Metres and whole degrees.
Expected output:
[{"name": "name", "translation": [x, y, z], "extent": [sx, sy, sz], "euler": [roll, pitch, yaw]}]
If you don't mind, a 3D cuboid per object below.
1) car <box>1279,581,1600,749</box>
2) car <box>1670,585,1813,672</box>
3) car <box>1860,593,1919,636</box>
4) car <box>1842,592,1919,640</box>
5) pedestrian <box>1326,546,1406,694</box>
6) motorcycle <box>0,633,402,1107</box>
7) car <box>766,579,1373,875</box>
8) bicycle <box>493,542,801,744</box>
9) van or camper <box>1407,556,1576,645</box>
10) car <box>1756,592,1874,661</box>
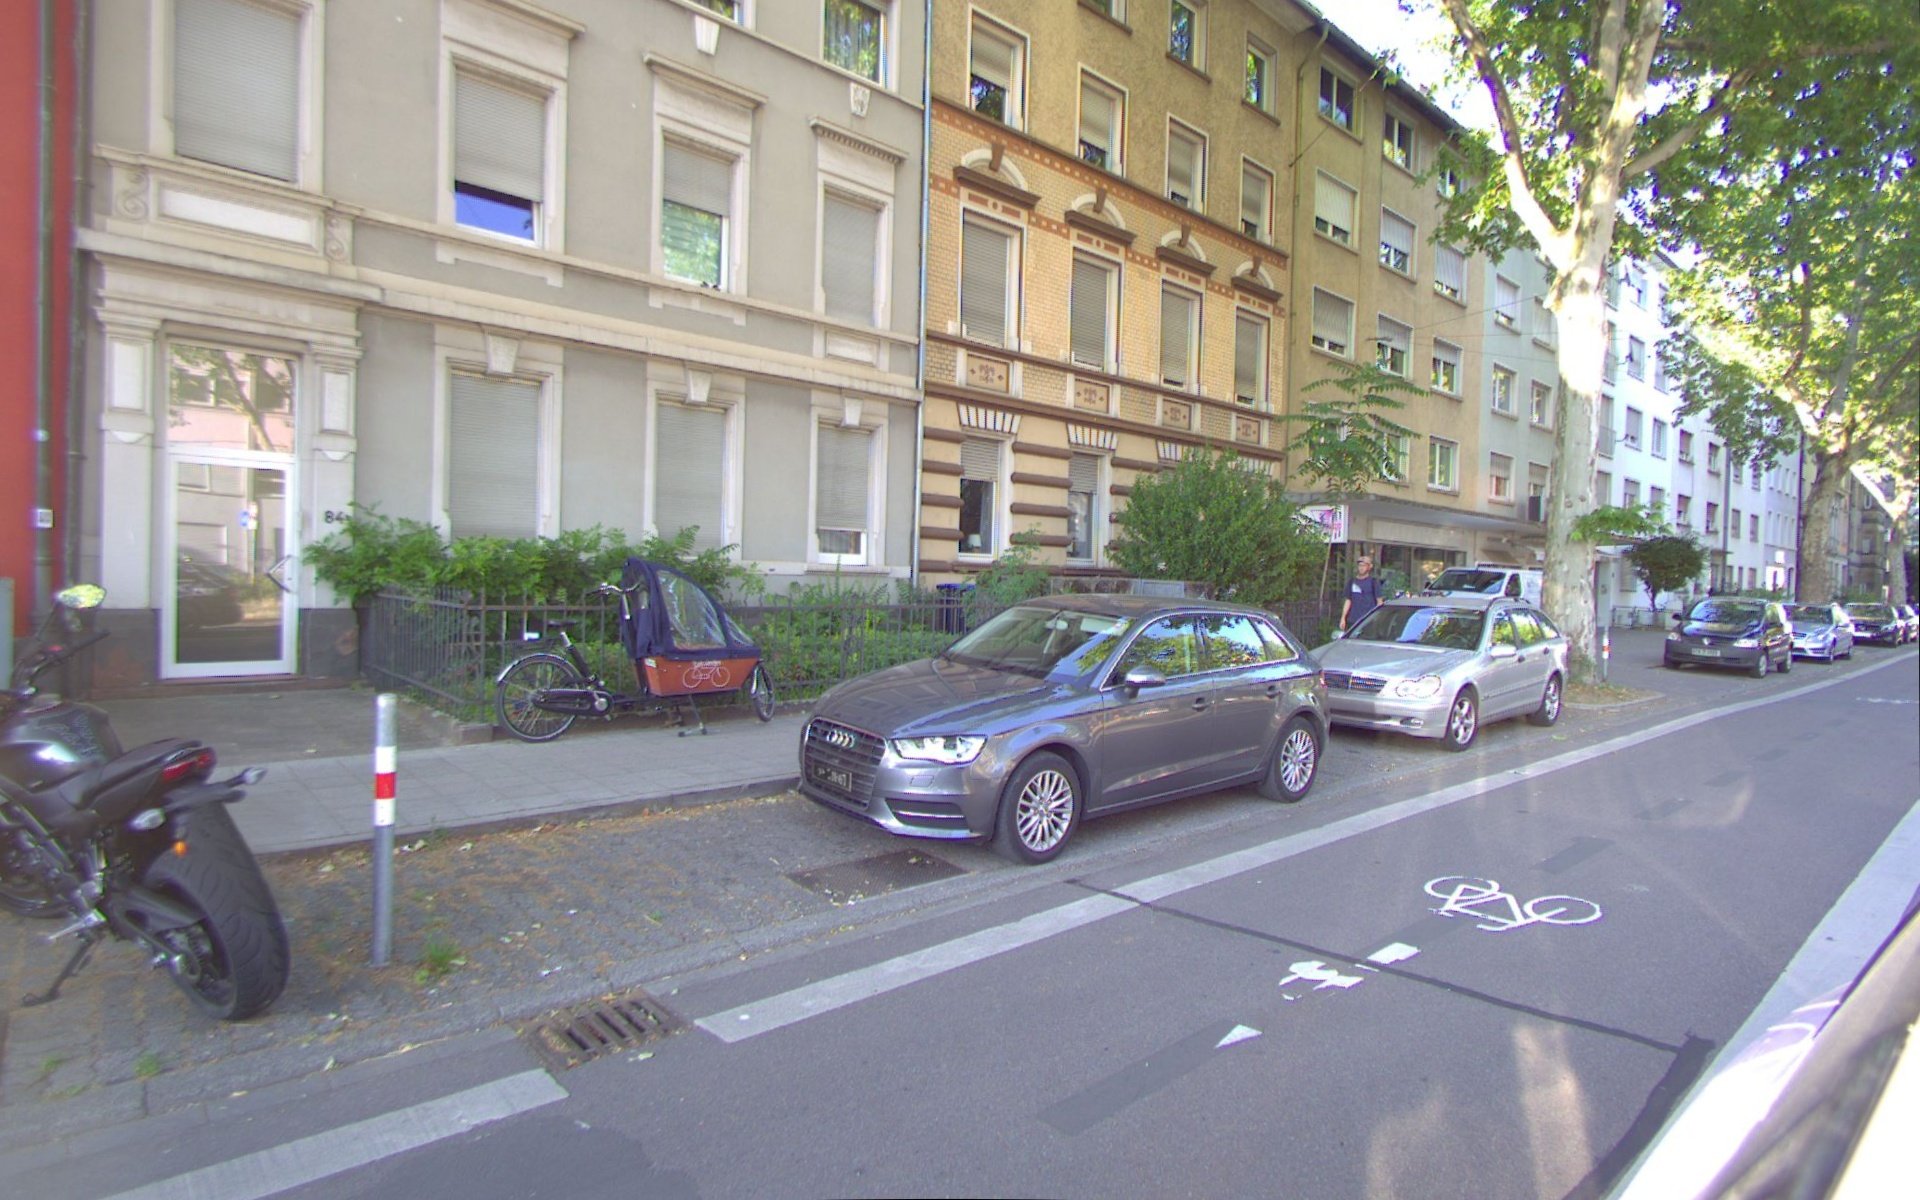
[{"name": "car", "translation": [5.457, 0.563, 11.208], "extent": [4.494, 1.469, 1.676], "euler": [0, 2, -43]}, {"name": "car", "translation": [16.241, 0.523, 20.964], "extent": [3.932, 1.564, 1.656], "euler": [0, 2, -42]}, {"name": "car", "translation": [35.189, 0.513, 37.878], "extent": [4.289, 1.432, 1.712], "euler": [0, 4, -42]}, {"name": "car", "translation": [31.663, 0.503, 34.609], "extent": [4.289, 1.432, 1.712], "euler": [0, 4, -42]}, {"name": "pedestrian", "translation": [5.840, 0.262, 14.551], "extent": [0.995, 2.038, 0.683], "euler": [0, 1, -45]}, {"name": "motorcycle", "translation": [-3.028, 0.759, 3.573], "extent": [2.193, 1.076, 0.760], "euler": [4, 2, 28]}, {"name": "car", "translation": [0.970, 0.606, 6.980], "extent": [4.245, 1.414, 1.714], "euler": [0, 2, -41]}, {"name": "bicycle", "translation": [-2.466, 0.298, 8.234], "extent": [2.354, 1.445, 0.608], "euler": [0, 0, -41]}, {"name": "van or camper", "translation": [13.174, -0.025, 24.916], "extent": [5.299, 1.946, 1.945], "euler": [0, 2, -42]}, {"name": "car", "translation": [21.994, 0.624, 25.958], "extent": [4.695, 1.561, 1.697], "euler": [0, 2, -42]}]
